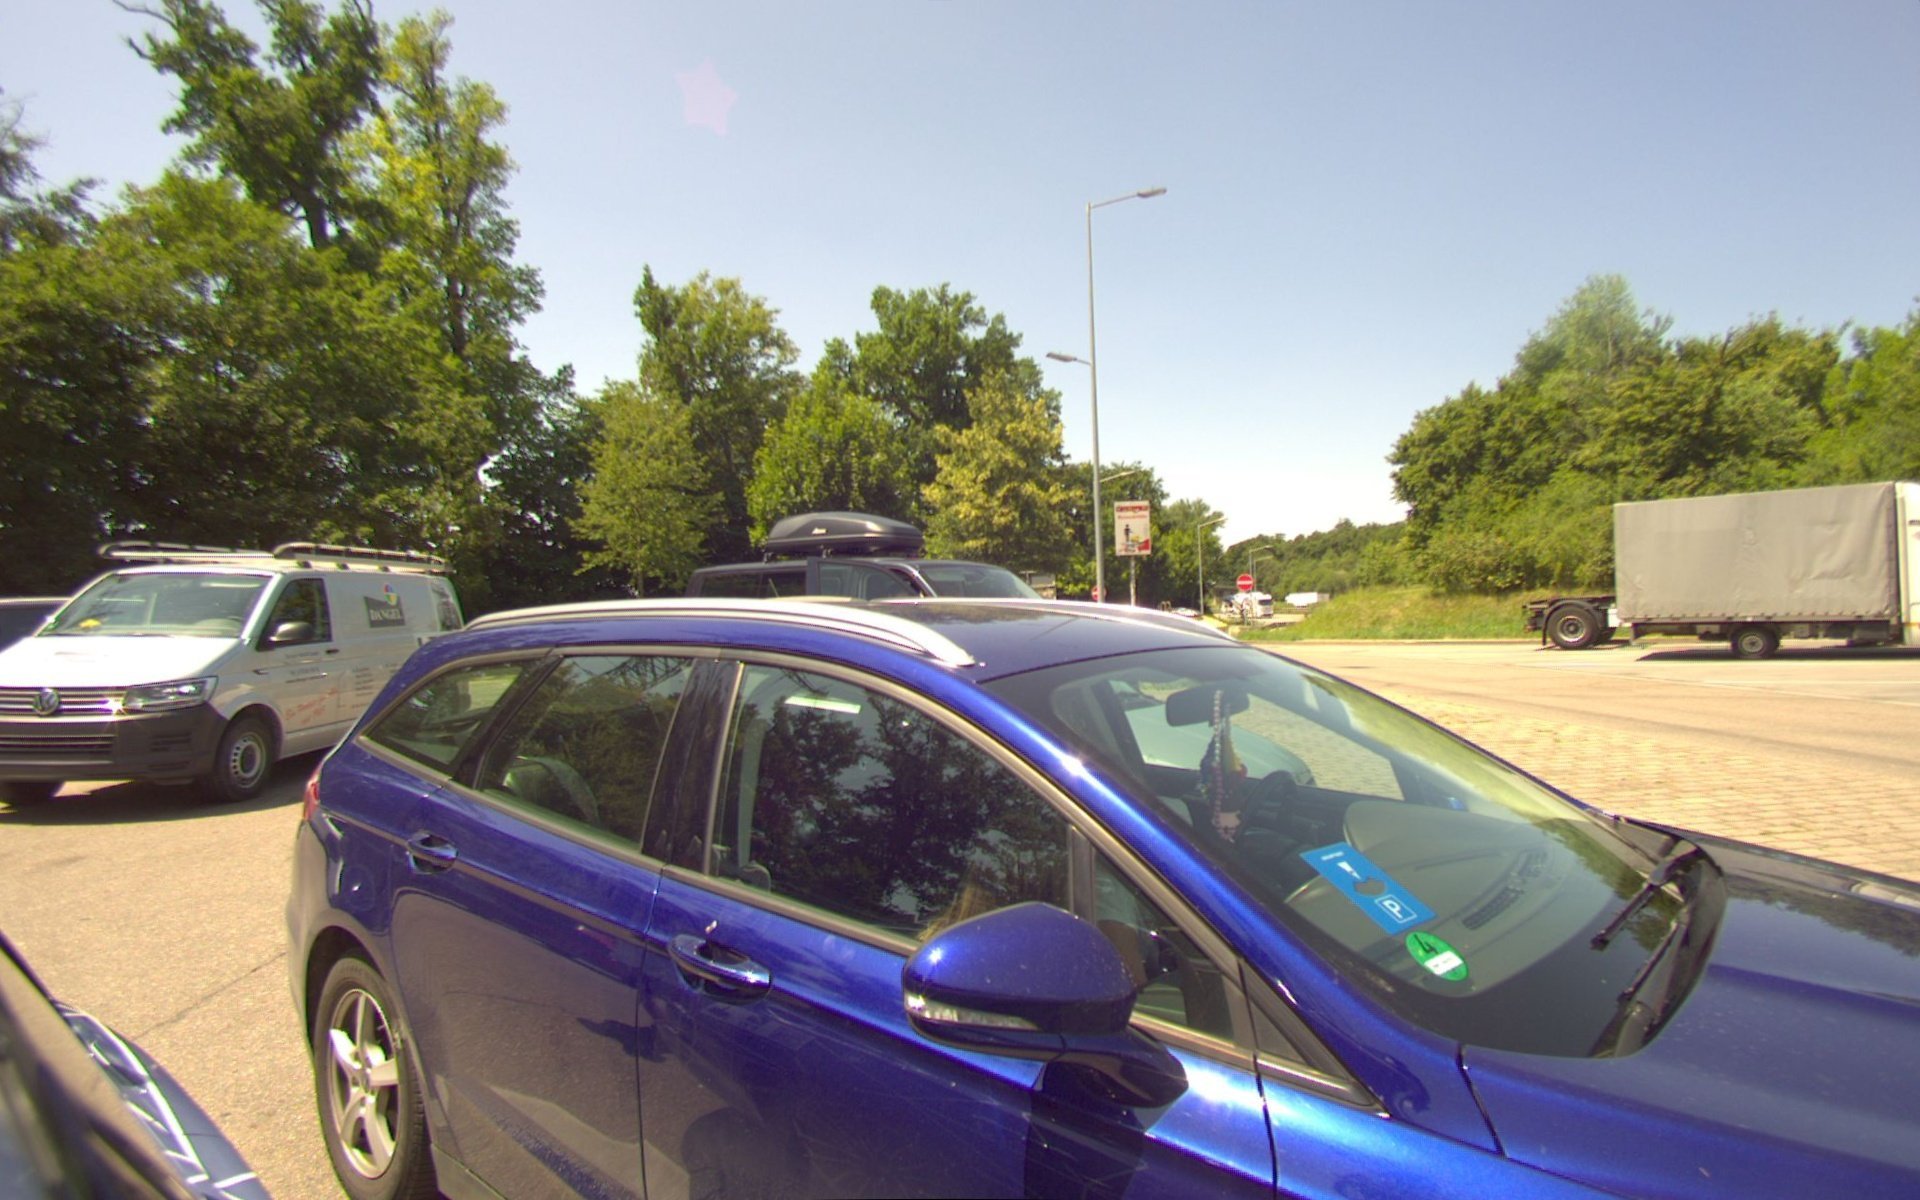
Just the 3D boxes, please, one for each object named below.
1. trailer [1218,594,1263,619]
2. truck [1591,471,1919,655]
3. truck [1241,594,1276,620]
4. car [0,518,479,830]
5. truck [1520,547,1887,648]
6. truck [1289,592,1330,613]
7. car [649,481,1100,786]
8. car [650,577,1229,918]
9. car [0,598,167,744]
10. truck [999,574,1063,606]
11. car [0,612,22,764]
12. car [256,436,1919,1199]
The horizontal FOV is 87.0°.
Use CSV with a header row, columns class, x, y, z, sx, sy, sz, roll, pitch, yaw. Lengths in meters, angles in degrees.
class,x,y,z,sx,sy,sz,roll,pitch,yaw
trailer,48.080,1.148,174.079,3.113,4.077,14.991,-1,0,-2
truck,16.348,-0.612,19.071,7.253,3.175,2.148,-2,-1,41
truck,48.449,1.132,164.546,3.059,4.148,7.519,-1,0,-2
car,-6.595,0.550,9.616,1.816,2.121,5.439,0,-1,-4
truck,16.939,0.046,23.491,6.613,2.029,1.973,-2,-1,41
truck,70.312,0.461,204.019,2.805,4.148,12.005,-1,0,-6
car,-0.918,0.318,9.645,4.076,2.336,1.767,-2,-1,35
car,-0.265,0.631,5.603,3.112,1.370,1.326,-2,-1,41
car,-12.091,0.851,12.204,1.755,1.701,3.798,-2,-1,45
truck,3.424,-0.460,48.785,2.866,1.386,1.158,-2,-1,22
car,-11.091,0.888,9.184,1.848,1.465,3.722,-3,-1,45
car,0.216,0.642,2.079,4.411,1.429,1.721,-2,-1,41
